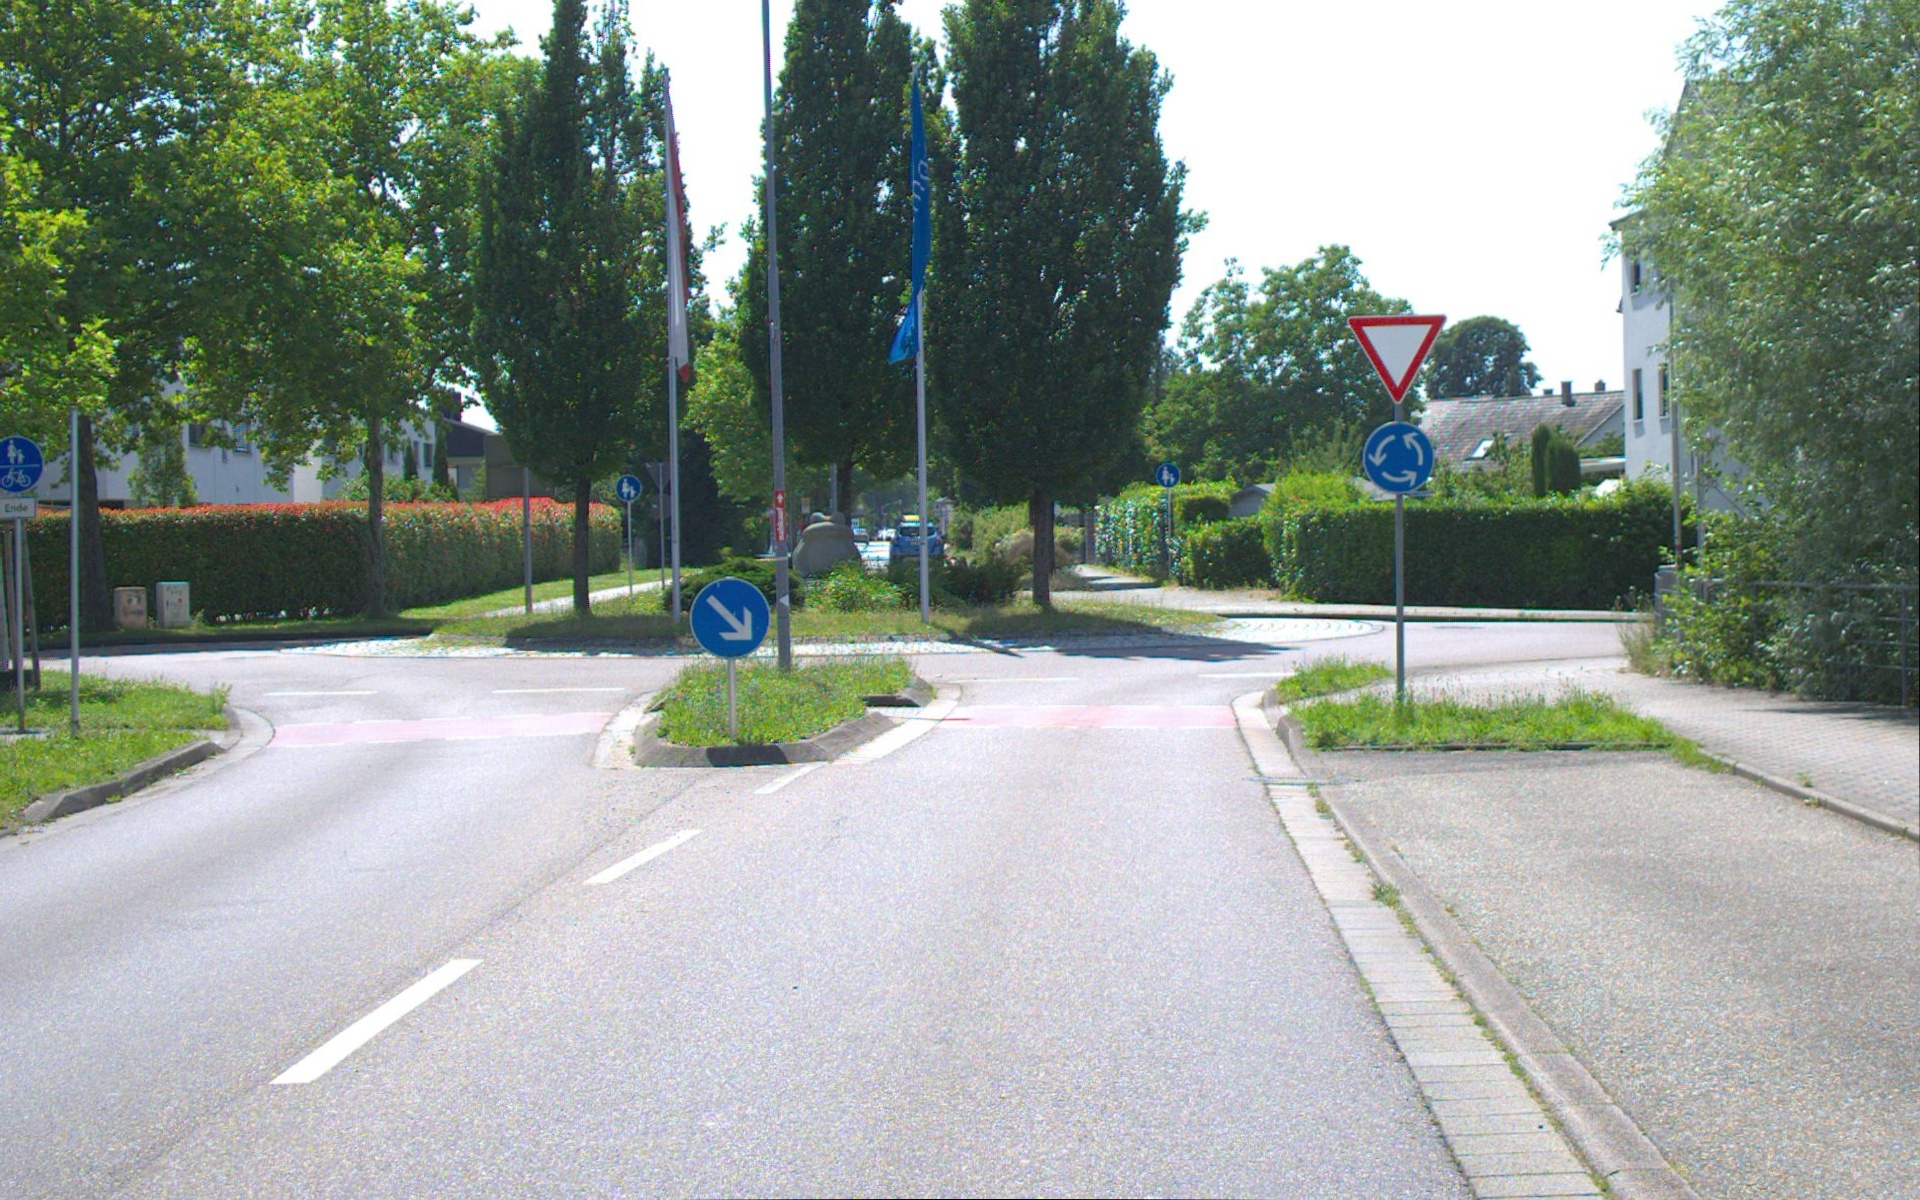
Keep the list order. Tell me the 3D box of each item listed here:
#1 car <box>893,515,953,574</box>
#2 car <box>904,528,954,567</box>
[{"bbox_3d":[-1.230,-1.803,112.573,1.923,1.879,4.000,1,1,-1],"label":"car"},{"bbox_3d":[-1.414,-2.414,157.967,1.994,1.764,4.000,1,1,3],"label":"car"}]
